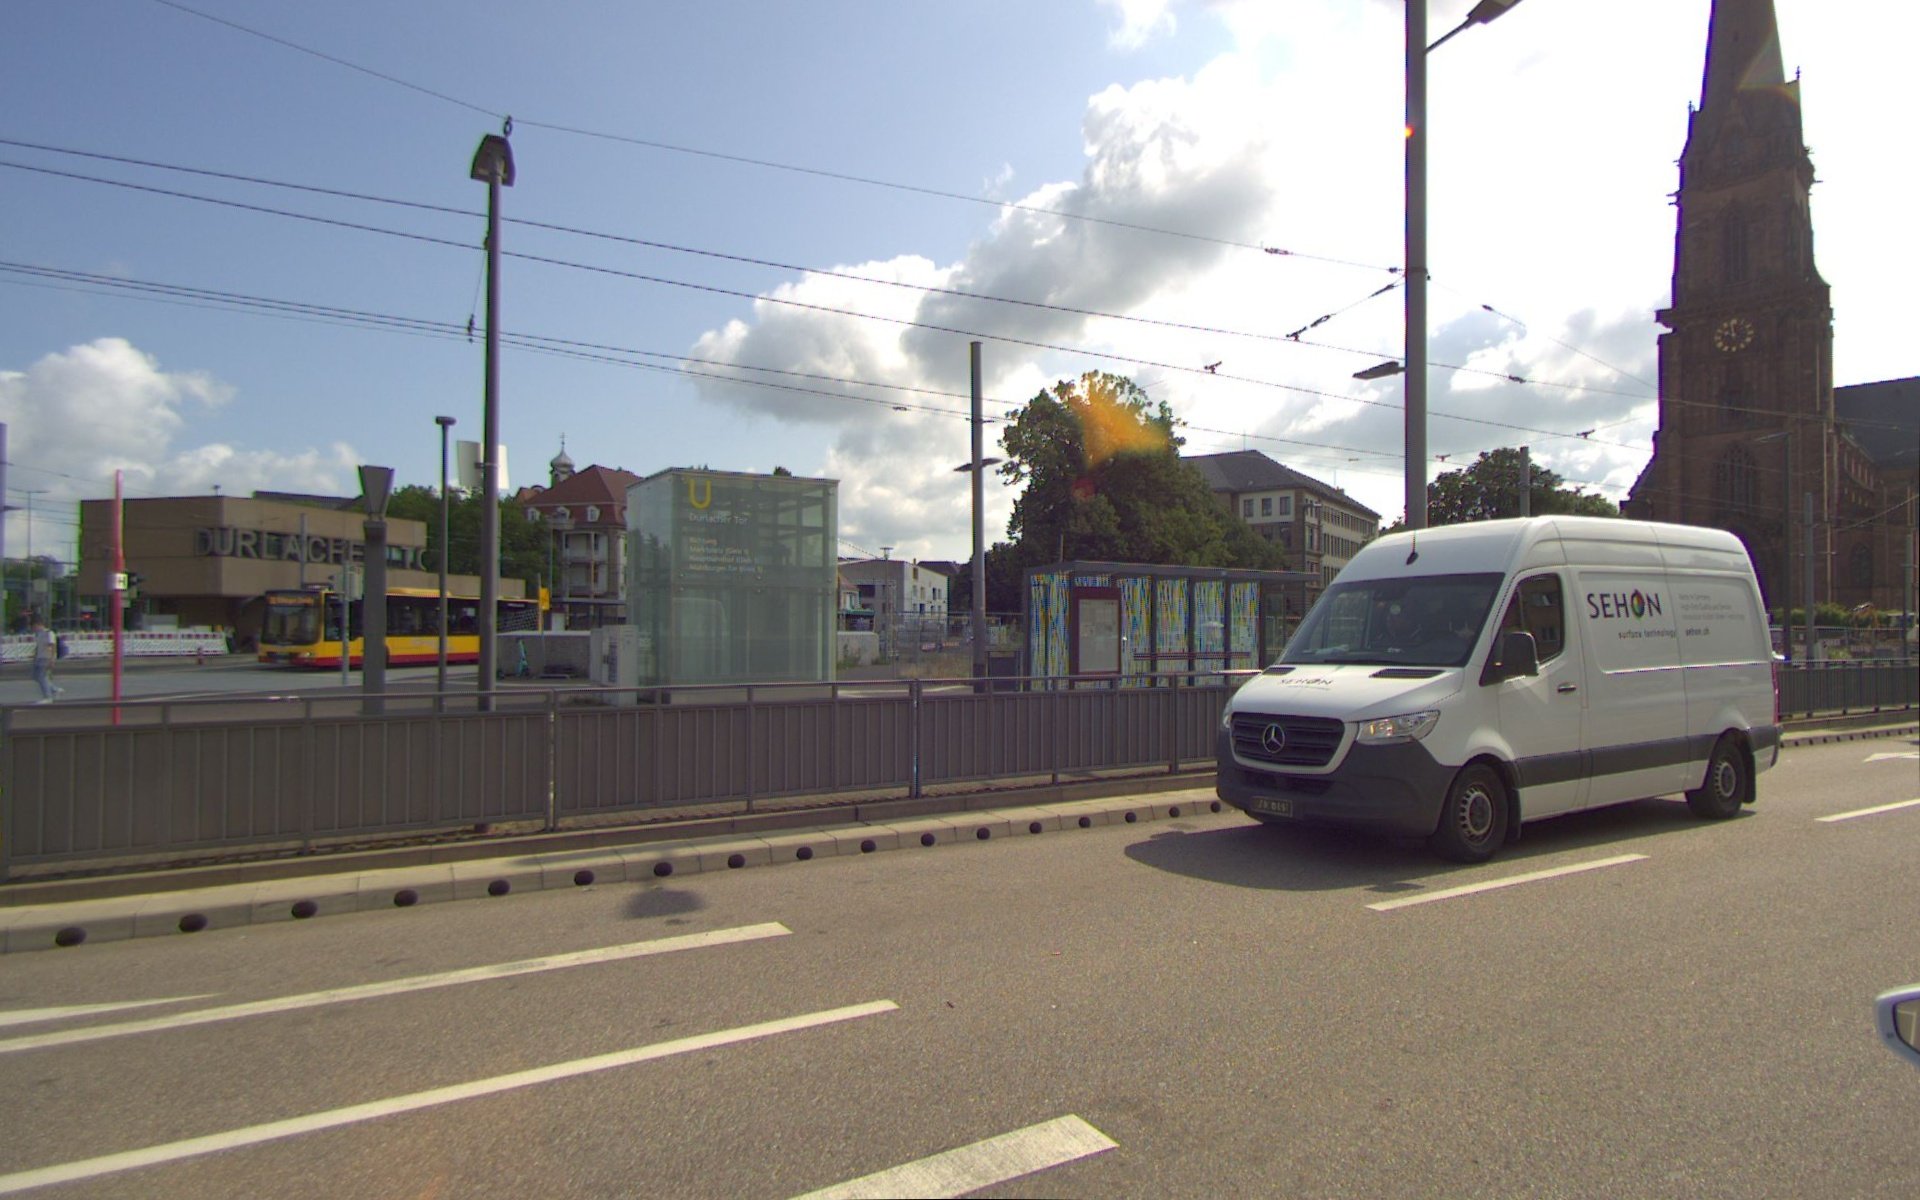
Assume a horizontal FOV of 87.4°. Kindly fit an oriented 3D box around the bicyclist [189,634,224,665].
[{"bbox_3d":[-30.196,1.981,40.257,0.683,1.167,0.739,4,-4,12],"label":"bicyclist"}]

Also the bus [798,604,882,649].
[{"bbox_3d":[-10.067,2.280,86.100,2.905,3.554,12.261,0,-2,15],"label":"bus"}]

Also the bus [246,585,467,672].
[{"bbox_3d":[-21.704,1.041,36.718,2.646,2.871,7.105,0,-2,14],"label":"bus"}]

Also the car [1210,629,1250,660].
[{"bbox_3d":[19.540,3.209,72.637,1.963,2.040,3.996,1,-3,27],"label":"car"}]

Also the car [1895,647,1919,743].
[{"bbox_3d":[17.082,1.466,16.044,4.499,1.474,1.842,1,-3,-29],"label":"car"}]

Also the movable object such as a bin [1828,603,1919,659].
[{"bbox_3d":[63.455,2.143,69.742,5.512,3.780,2.660,1,-1,-22],"label":"movable object such as a bin"}]

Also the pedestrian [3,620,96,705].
[{"bbox_3d":[-19.074,1.277,21.071,0.911,1.712,1.098,1,0,12],"label":"pedestrian"}]

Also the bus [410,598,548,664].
[{"bbox_3d":[-20.259,1.327,42.639,2.647,2.621,5.081,0,-2,13],"label":"bus"}]

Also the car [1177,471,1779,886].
[{"bbox_3d":[4.639,0.600,8.706,5.515,2.656,1.984,2,-3,-31],"label":"car"}]

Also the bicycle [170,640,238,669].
[{"bbox_3d":[-30.218,2.194,40.190,0.796,1.005,2.072,4,-4,12],"label":"bicycle"}]

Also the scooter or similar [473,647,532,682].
[{"bbox_3d":[-13.217,1.861,29.017,1.630,0.962,0.474,0,-1,15],"label":"scooter or similar"}]
